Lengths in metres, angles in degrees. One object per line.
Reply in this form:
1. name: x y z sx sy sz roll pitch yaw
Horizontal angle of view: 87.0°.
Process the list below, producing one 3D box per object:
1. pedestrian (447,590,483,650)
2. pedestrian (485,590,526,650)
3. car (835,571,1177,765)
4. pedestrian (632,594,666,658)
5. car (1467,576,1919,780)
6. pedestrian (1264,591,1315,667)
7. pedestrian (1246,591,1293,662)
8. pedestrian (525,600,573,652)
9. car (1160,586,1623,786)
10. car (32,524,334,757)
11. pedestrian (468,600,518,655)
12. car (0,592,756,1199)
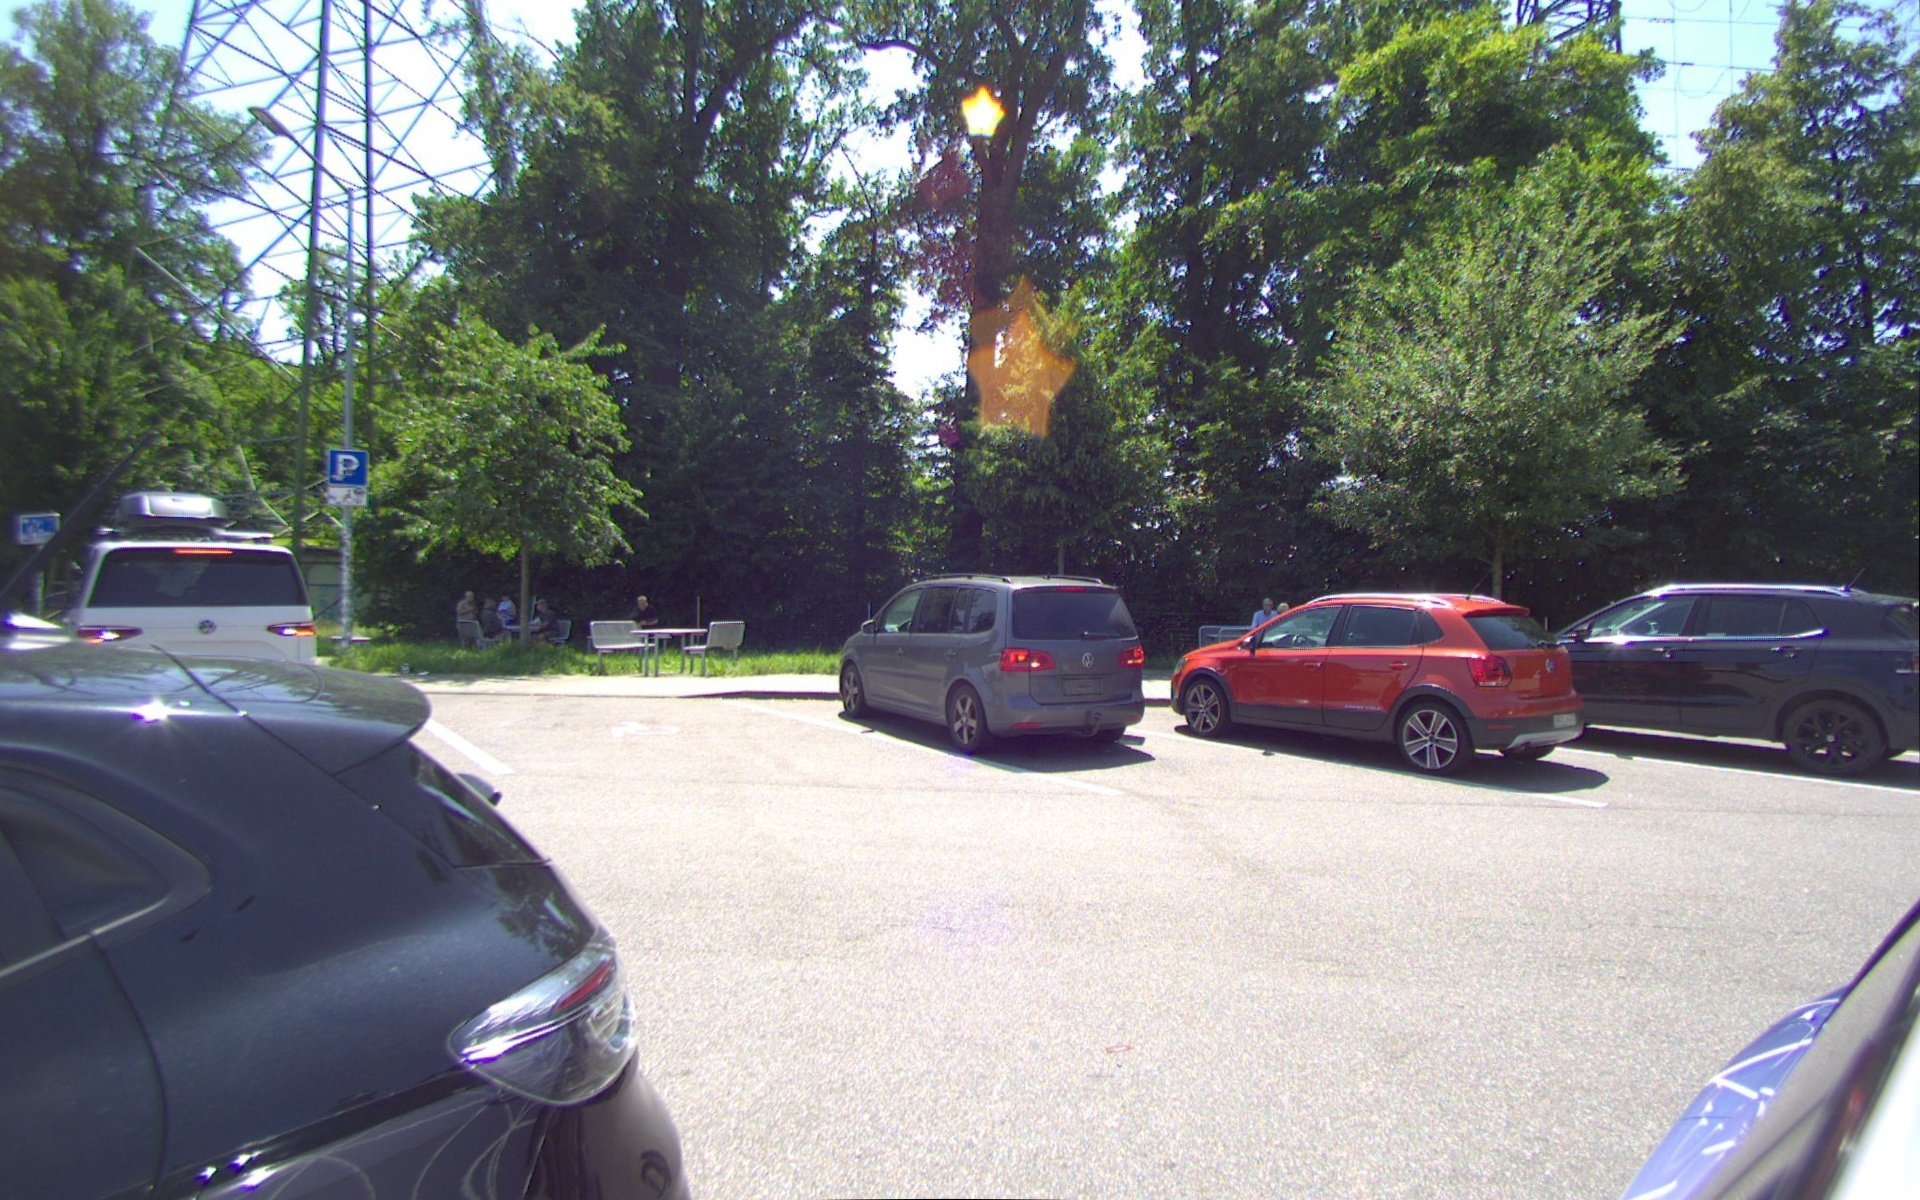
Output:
1. pedestrian: -12.106 0.480 24.738 0.657 1.422 0.649 0 0 -39
2. pedestrian: -11.020 0.476 24.544 0.664 1.422 0.643 0 0 32
3. car: 0.256 0.526 10.530 1.713 1.601 3.996 0 1 -29
4. pedestrian: -6.542 0.535 21.293 0.655 1.311 0.786 0 0 -16
5. car: 7.183 0.581 9.720 1.690 1.593 3.787 0 1 -39
6. pedestrian: 5.784 0.497 17.783 0.657 1.311 0.783 0 0 3
7. pedestrian: 5.788 0.486 18.977 0.657 1.311 0.783 0 0 3
8. pedestrian: -9.599 0.591 23.638 0.873 1.192 0.668 0 0 -41
9. car: 3.856 0.617 9.661 1.687 1.484 3.793 0 1 -32
10. car: -8.354 0.296 10.705 4.549 1.936 1.882 1 1 44
11. pedestrian: -10.514 0.604 22.783 0.873 1.192 0.668 0 0 -41
12. car: -2.200 0.726 0.612 1.737 1.501 3.757 0 -1 44
